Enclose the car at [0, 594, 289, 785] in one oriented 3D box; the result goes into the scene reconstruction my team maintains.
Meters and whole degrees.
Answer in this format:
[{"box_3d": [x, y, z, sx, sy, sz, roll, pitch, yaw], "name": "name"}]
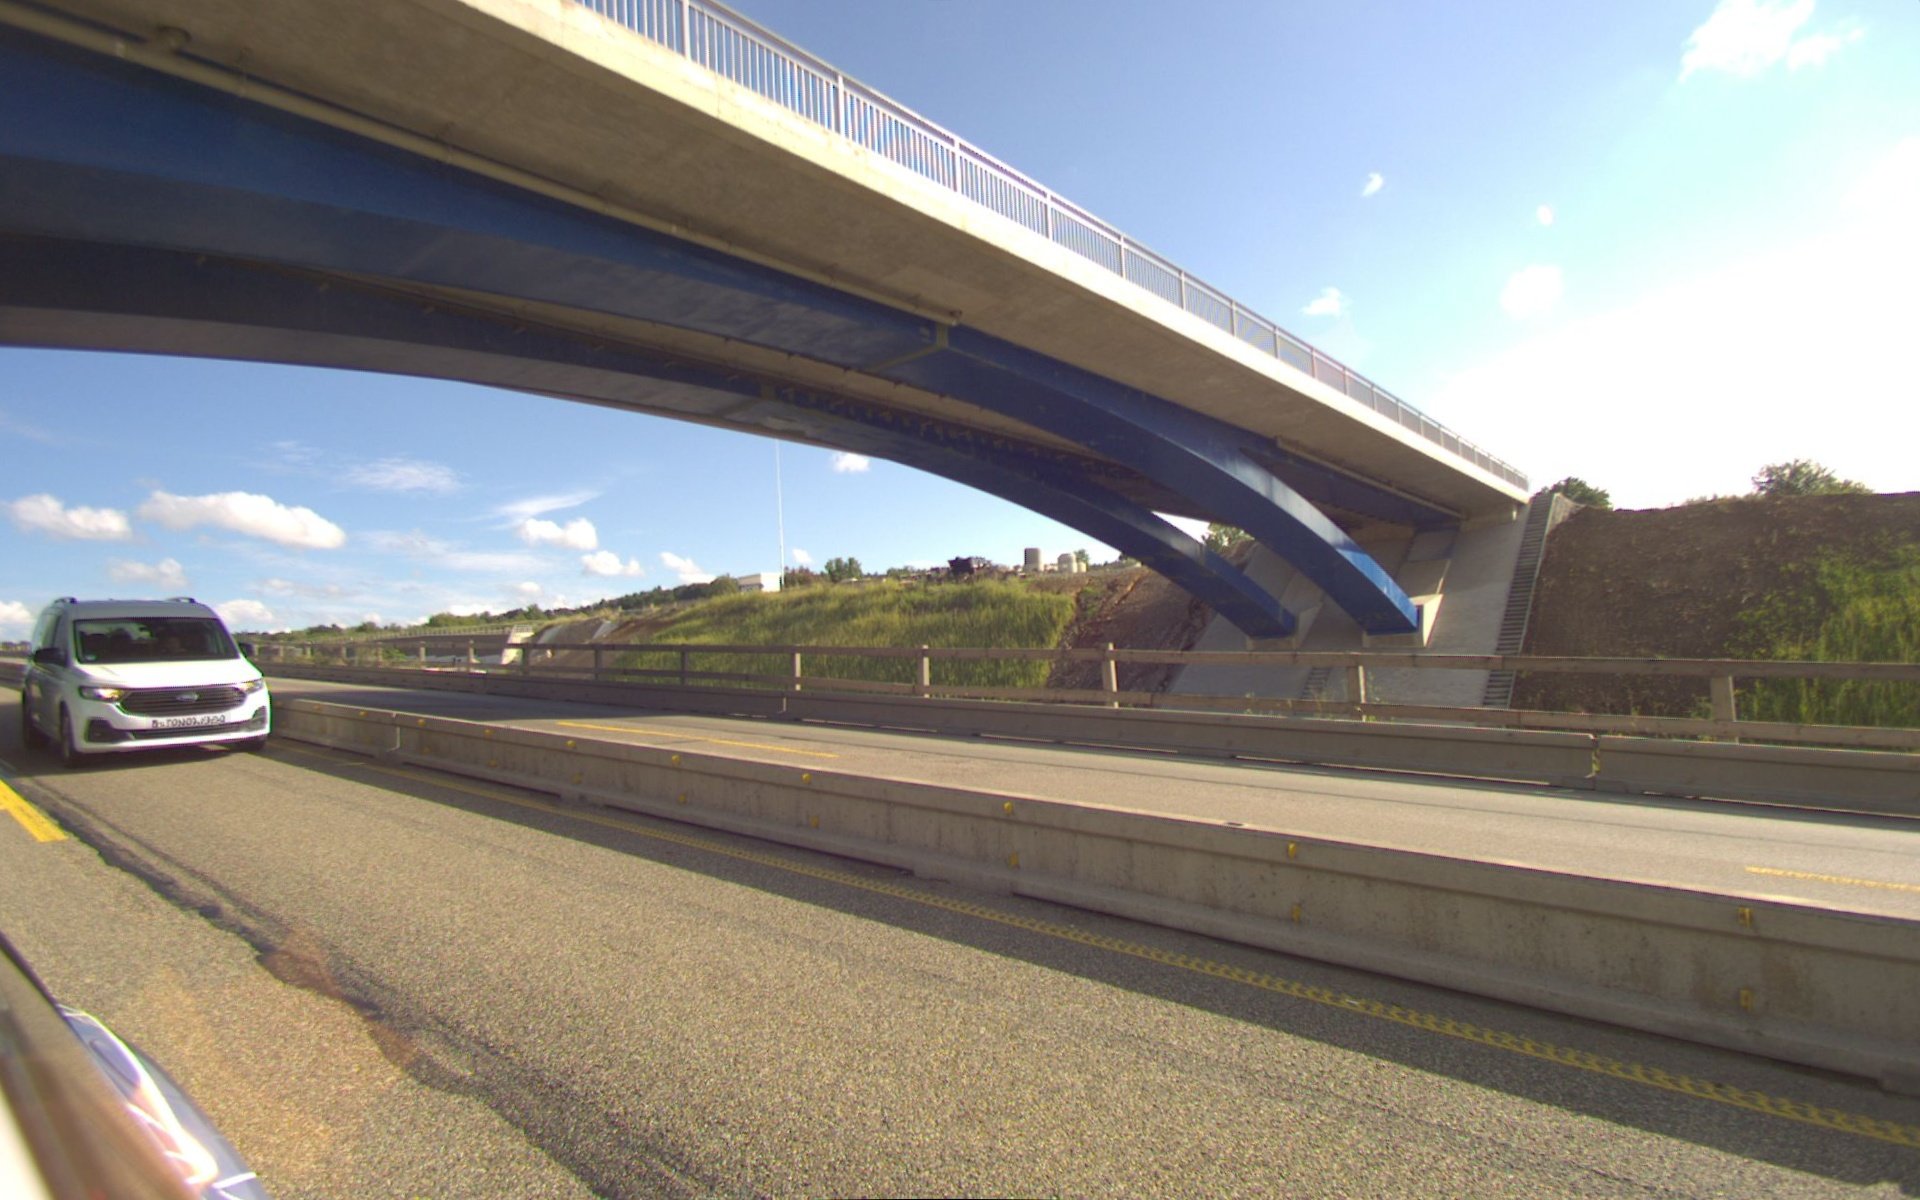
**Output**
[{"box_3d": [-9.775, 0.936, 11.991, 4.451, 1.837, 1.805, -2, -1, 39], "name": "car"}]
